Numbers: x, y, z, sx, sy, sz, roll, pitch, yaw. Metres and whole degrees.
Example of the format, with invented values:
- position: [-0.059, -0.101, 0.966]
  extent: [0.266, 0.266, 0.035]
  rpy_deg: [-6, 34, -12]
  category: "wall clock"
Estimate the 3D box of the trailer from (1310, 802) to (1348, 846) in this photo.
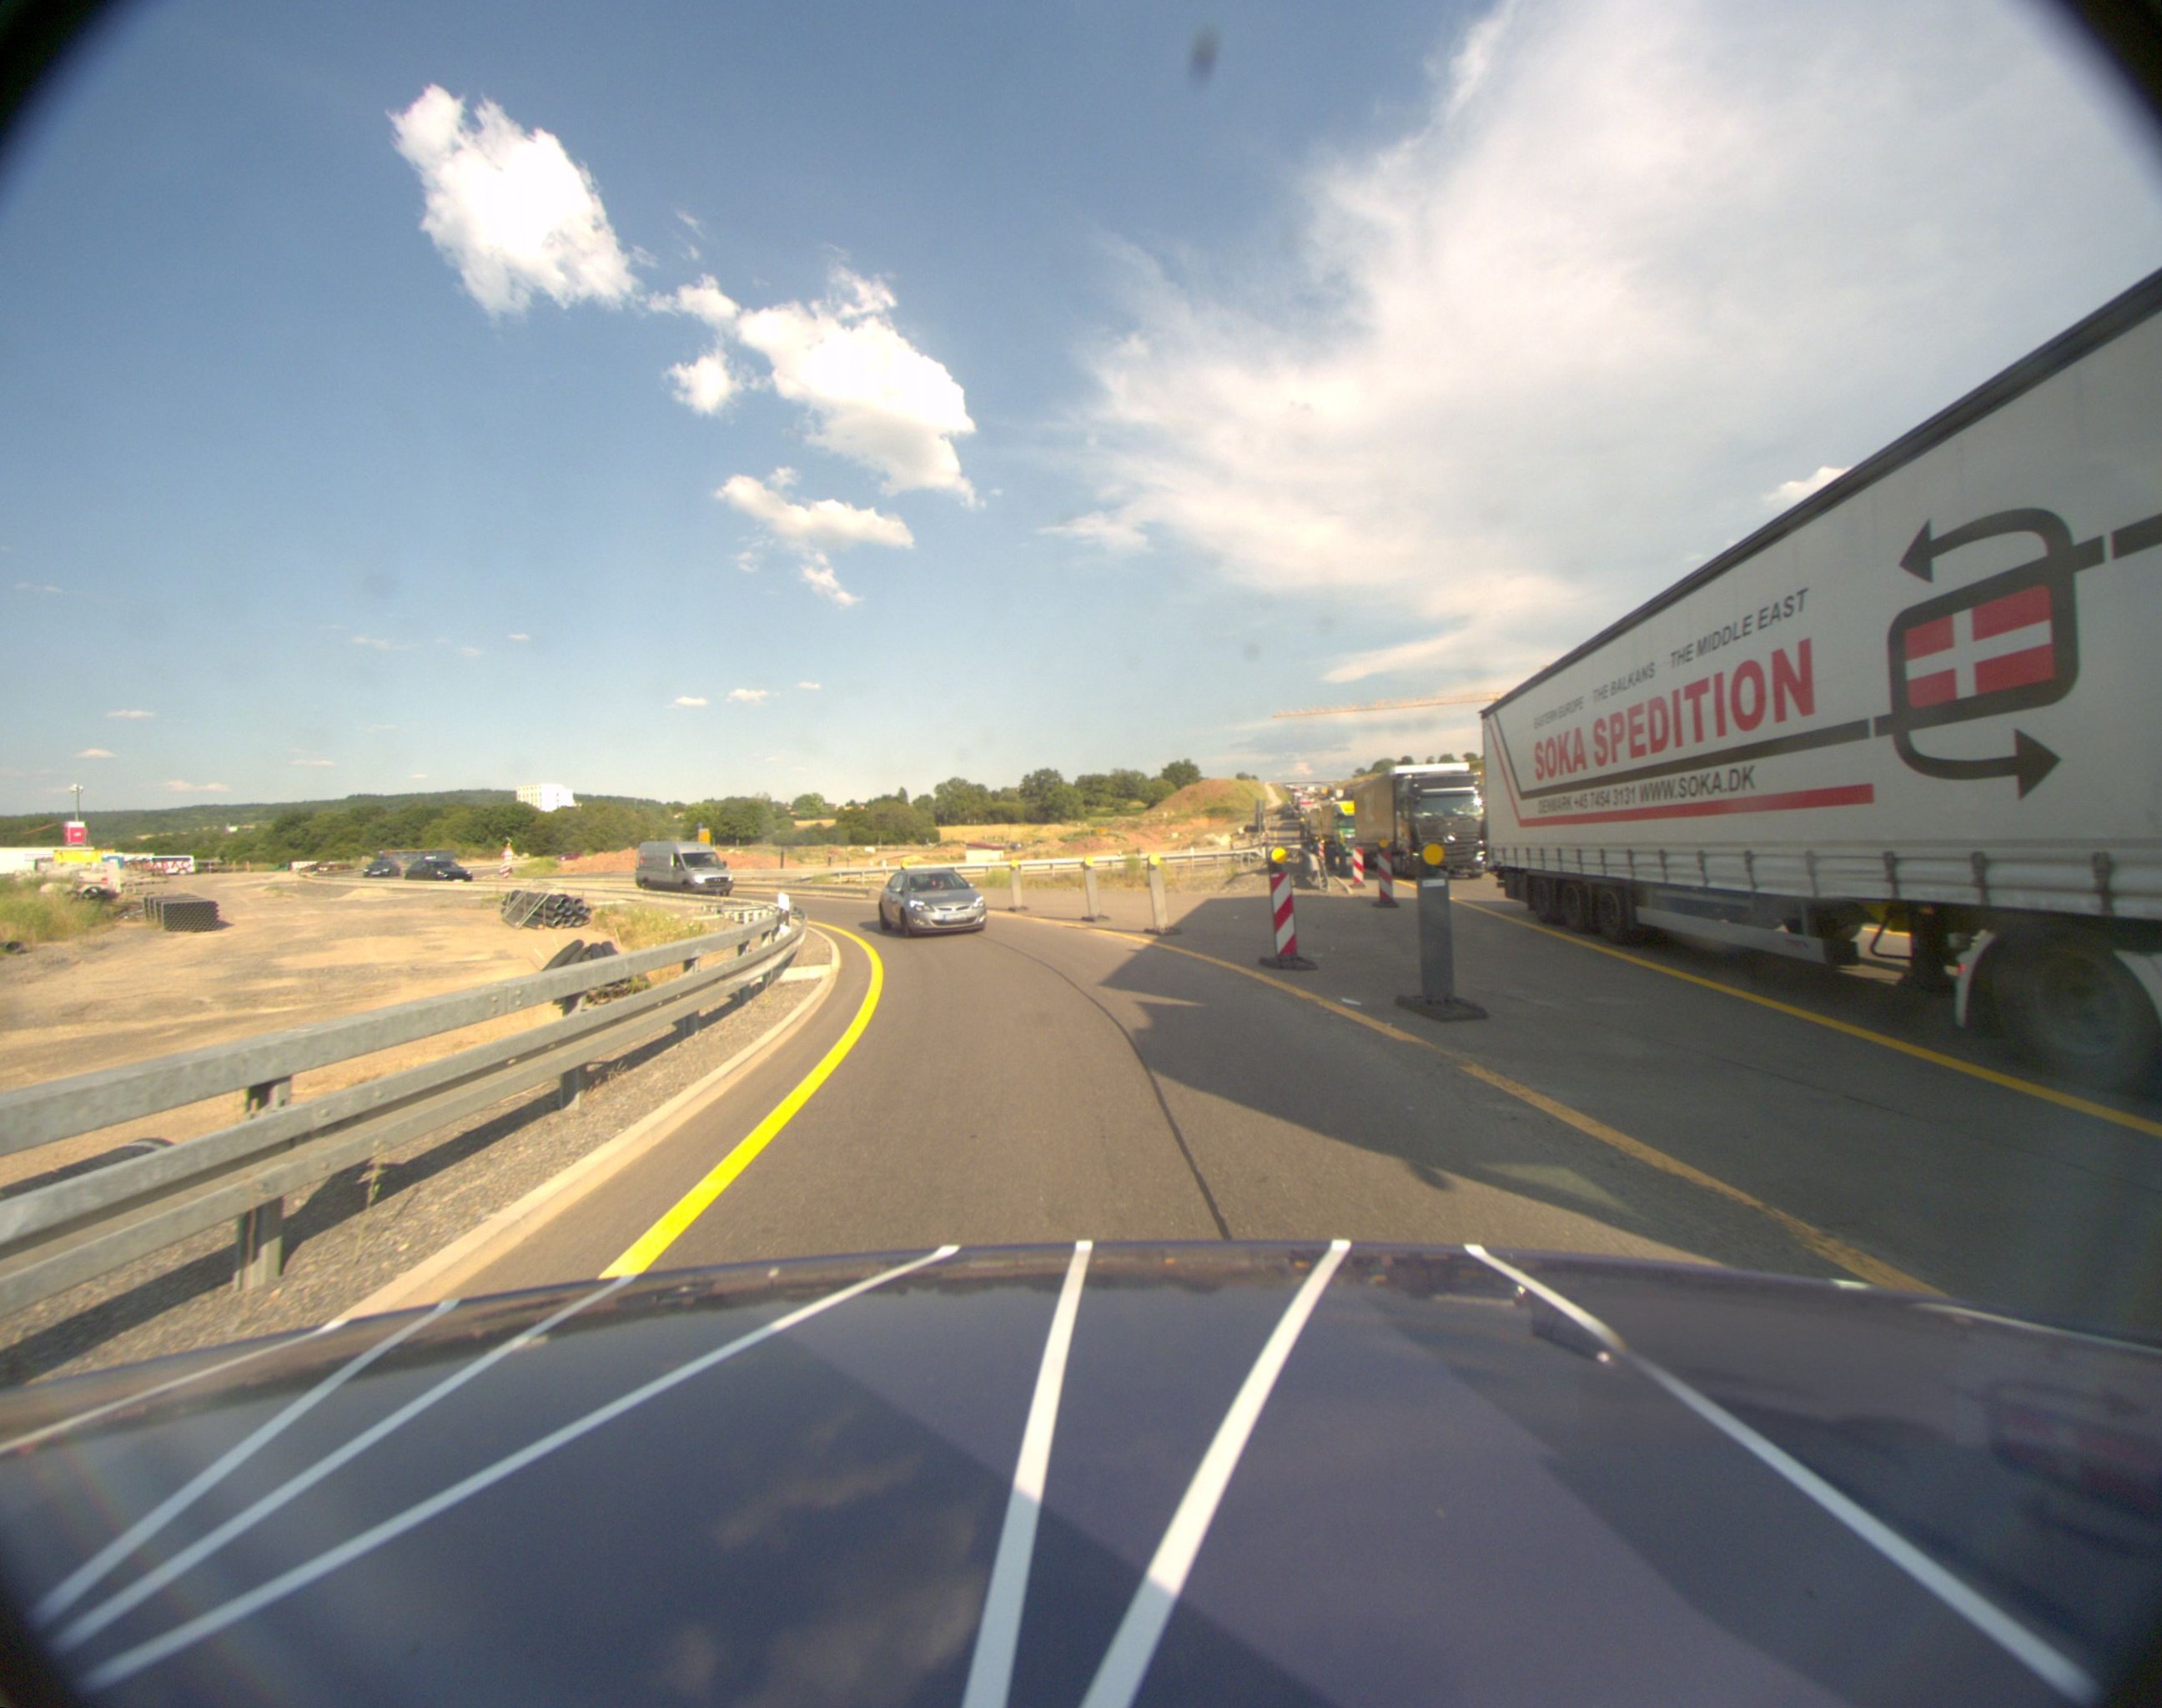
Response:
- position: [26.827, -3.223, 82.766]
  extent: [3.107, 4.290, 14.264]
  rpy_deg: [0, 2, 15]
  category: "trailer"

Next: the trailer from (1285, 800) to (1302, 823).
- position: [43.973, -8.735, 157.470]
  extent: [3.107, 4.290, 14.264]
  rpy_deg: [0, 2, 15]
  category: "trailer"

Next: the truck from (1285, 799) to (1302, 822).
- position: [41.843, -8.465, 149.653]
  extent: [3.107, 4.290, 6.902]
  rpy_deg: [0, 2, 15]
  category: "truck"

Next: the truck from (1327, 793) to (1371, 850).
- position: [19.848, -2.387, 56.493]
  extent: [2.484, 3.880, 6.016]
  rpy_deg: [-1, 2, 15]
  category: "truck"

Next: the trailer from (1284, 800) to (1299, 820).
- position: [49.078, -10.088, 177.221]
  extent: [3.107, 4.290, 14.264]
  rpy_deg: [0, 2, 15]
  category: "trailer"

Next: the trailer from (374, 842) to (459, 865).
- position: [-76.996, -0.137, 88.294]
  extent: [3.010, 2.400, 7.229]
  rpy_deg: [-1, 2, 6]
  category: "trailer"

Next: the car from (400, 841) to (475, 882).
- position: [-39.632, 0.436, 46.816]
  extent: [3.990, 2.390, 1.879]
  rpy_deg: [0, 2, 24]
  category: "car"

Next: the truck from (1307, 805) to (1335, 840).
- position: [30.941, -4.077, 98.160]
  extent: [3.107, 4.290, 6.902]
  rpy_deg: [0, 2, 15]
  category: "truck"

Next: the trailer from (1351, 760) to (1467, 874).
- position: [14.236, -1.556, 34.227]
  extent: [2.484, 4.039, 13.641]
  rpy_deg: [-1, 2, 14]
  category: "trailer"

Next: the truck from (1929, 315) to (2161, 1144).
- position: [5.827, -0.533, 1.563]
  extent: [2.484, 3.857, 6.016]
  rpy_deg: [-1, 2, 14]
  category: "truck"

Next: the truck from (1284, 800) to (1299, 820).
- position: [46.865, -9.792, 169.019]
  extent: [3.107, 4.290, 6.902]
  rpy_deg: [0, 2, 15]
  category: "truck"

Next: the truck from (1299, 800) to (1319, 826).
- position: [38.781, -6.967, 129.560]
  extent: [3.107, 4.290, 6.902]
  rpy_deg: [0, 2, 15]
  category: "truck"

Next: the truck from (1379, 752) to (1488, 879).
- position: [12.562, -1.314, 27.560]
  extent: [2.484, 4.037, 6.016]
  rpy_deg: [-1, 2, 15]
  category: "truck"

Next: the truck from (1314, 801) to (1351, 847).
- position: [24.872, -2.960, 75.490]
  extent: [3.107, 4.290, 6.902]
  rpy_deg: [0, 2, 15]
  category: "truck"

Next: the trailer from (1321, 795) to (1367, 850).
- position: [21.523, -2.556, 62.846]
  extent: [2.484, 3.936, 13.987]
  rpy_deg: [-1, 2, 15]
  category: "trailer"

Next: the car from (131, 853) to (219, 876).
- position: [-93.195, 1.067, 78.226]
  extent: [2.480, 2.067, 5.328]
  rpy_deg: [1, 2, 27]
  category: "car"

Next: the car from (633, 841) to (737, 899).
- position: [-18.745, 0.674, 35.830]
  extent: [5.780, 2.487, 1.921]
  rpy_deg: [1, 3, 36]
  category: "car"

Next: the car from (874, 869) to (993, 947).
- position: [-3.555, 1.138, 17.672]
  extent: [1.750, 1.476, 4.244]
  rpy_deg: [-3, 0, -24]
  category: "car"

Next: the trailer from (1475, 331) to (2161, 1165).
- position: [7.481, -0.685, 8.310]
  extent: [2.484, 3.857, 13.641]
  rpy_deg: [-1, 2, 14]
  category: "trailer"

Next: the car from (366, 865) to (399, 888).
- position: [-61.958, 1.973, 67.465]
  extent: [1.640, 1.777, 4.115]
  rpy_deg: [-2, 3, -36]
  category: "car"
